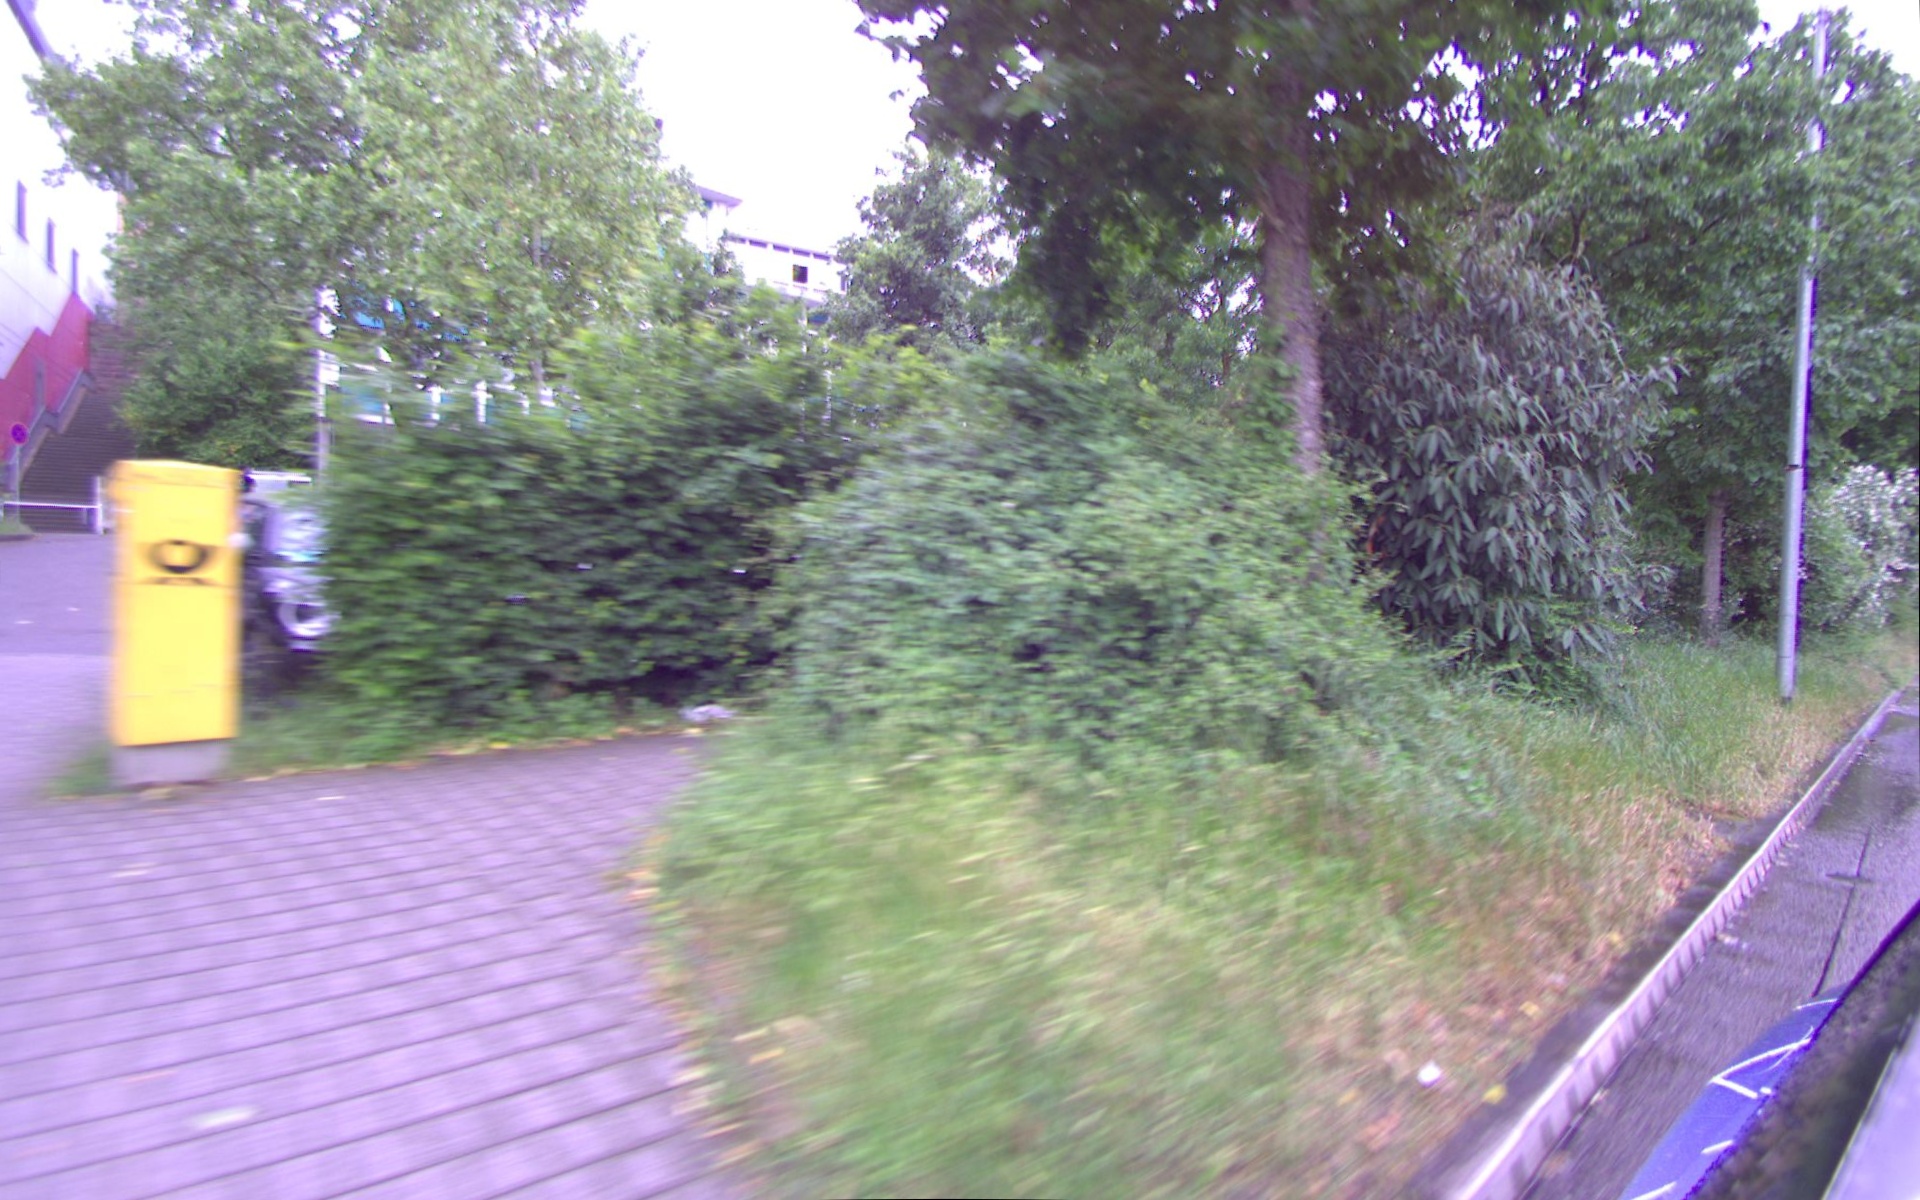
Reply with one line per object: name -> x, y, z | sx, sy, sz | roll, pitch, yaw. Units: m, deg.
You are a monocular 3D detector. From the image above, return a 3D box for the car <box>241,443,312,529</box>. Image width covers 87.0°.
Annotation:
car -> -22.840, -3.722, 33.937 | 1.847, 2.333, 4.727 | -1, 0, -33

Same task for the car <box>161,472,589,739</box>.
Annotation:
car -> -4.609, -0.192, 7.690 | 4.193, 1.448, 1.781 | 8, 8, 44
